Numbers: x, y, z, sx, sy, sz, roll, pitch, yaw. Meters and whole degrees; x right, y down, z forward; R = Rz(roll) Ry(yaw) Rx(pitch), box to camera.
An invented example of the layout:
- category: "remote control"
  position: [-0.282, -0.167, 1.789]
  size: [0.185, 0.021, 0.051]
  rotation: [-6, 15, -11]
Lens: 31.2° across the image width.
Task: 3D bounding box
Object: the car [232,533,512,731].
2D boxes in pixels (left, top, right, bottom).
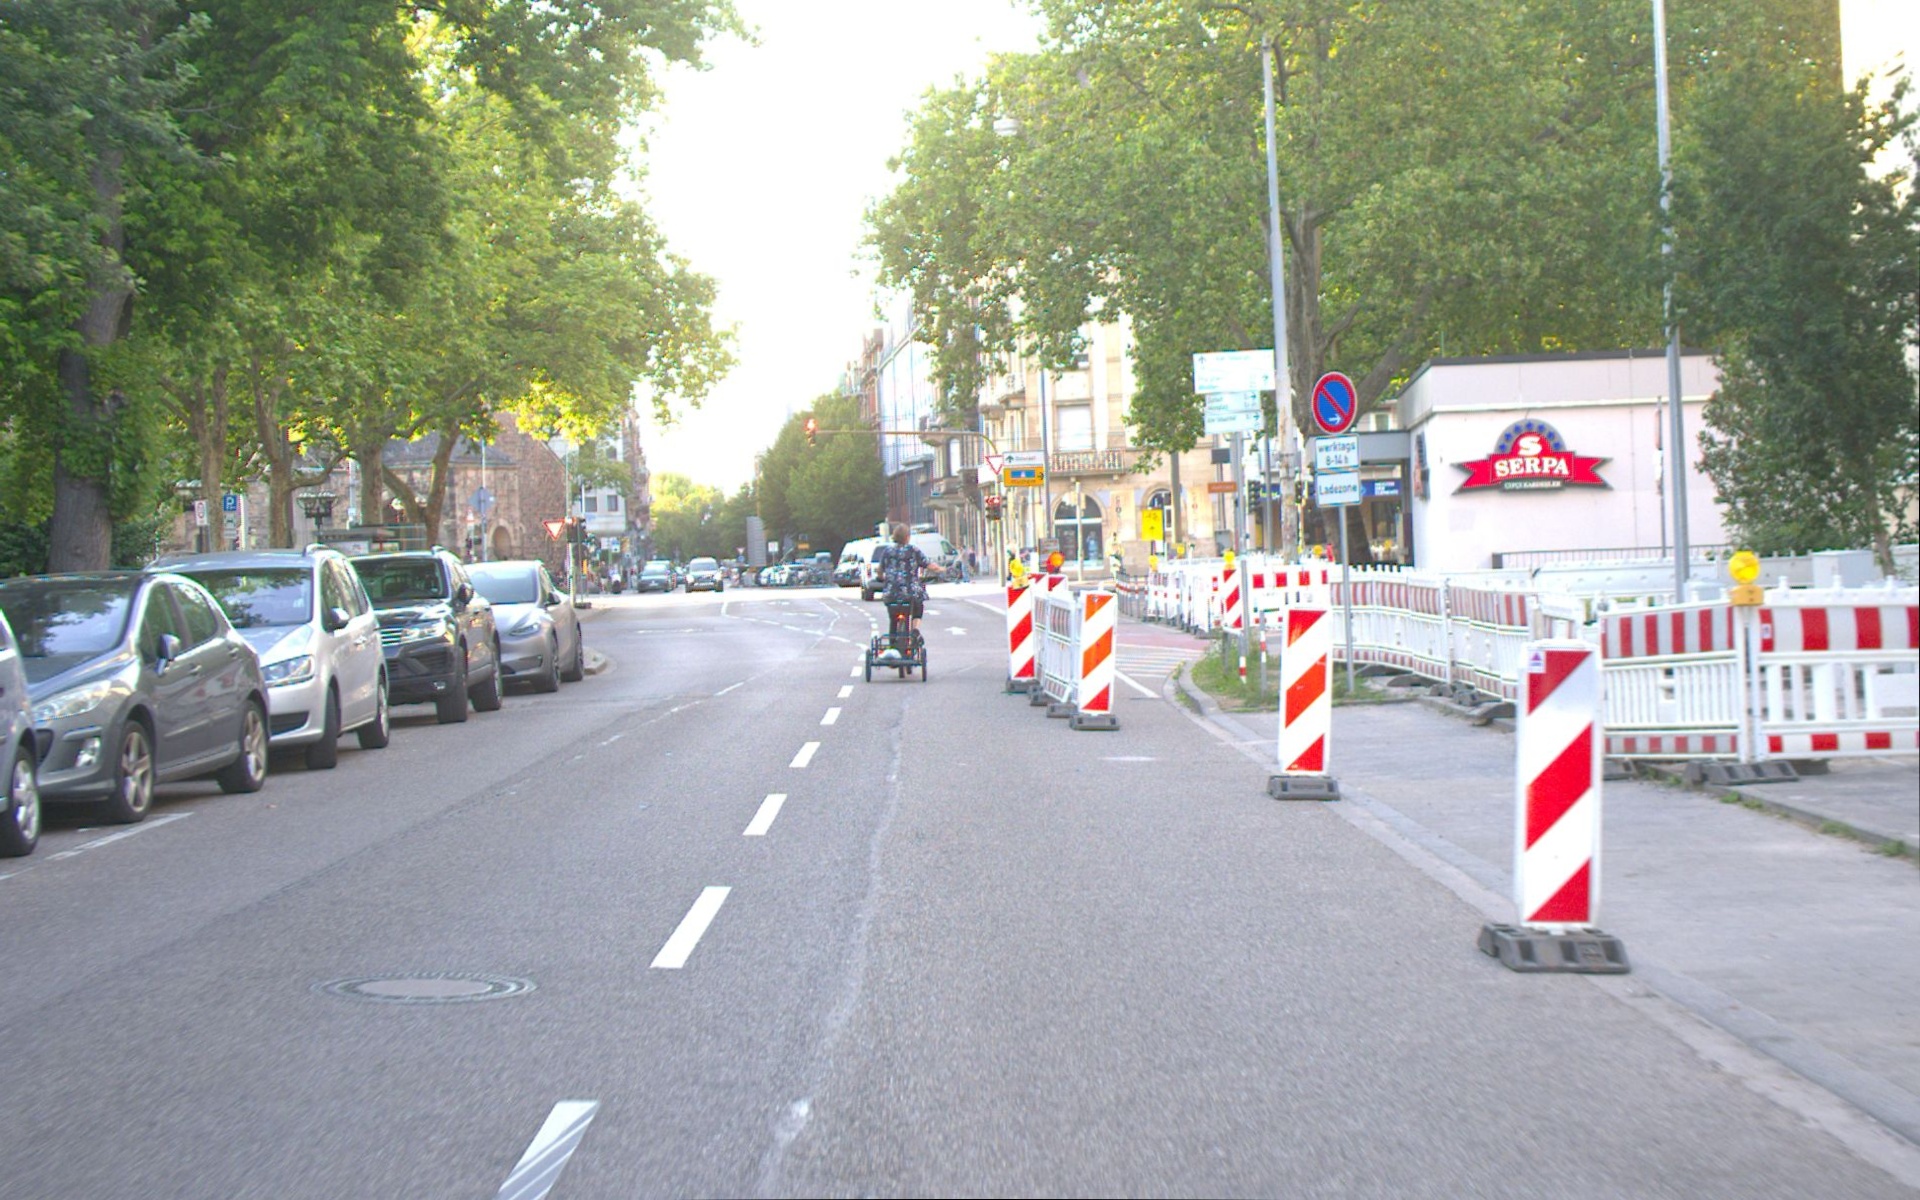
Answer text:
- category: "car"
  position: [-5.755, 0.260, 34.217]
  size: [1.953, 1.713, 4.771]
  rotation: [-4, 1, -1]

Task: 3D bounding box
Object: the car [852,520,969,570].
- category: "car"
  position: [-2.410, -2.700, 168.333]
  size: [5.807, 2.280, 2.071]
  rotation: [-3, 1, -43]

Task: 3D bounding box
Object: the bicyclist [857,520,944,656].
- category: "bicyclist"
  position: [-0.737, -0.153, 42.149]
  size: [0.939, 1.576, 1.146]
  rotation: [-4, 0, -1]

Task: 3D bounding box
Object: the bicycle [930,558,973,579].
- category: "bicycle"
  position: [-0.414, -1.494, 162.899]
  size: [1.916, 0.965, 0.545]
  rotation: [-1, 1, 14]

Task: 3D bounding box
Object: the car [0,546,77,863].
- category: "car"
  position: [-5.723, 0.601, 16.698]
  size: [1.707, 1.595, 4.117]
  rotation: [-5, 1, 0]

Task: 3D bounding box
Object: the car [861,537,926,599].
- category: "car"
  position: [-2.066, -0.994, 106.085]
  size: [1.866, 1.808, 4.000]
  rotation: [-3, 1, -2]

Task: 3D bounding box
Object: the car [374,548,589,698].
- category: "car"
  position: [-5.797, 0.232, 42.172]
  size: [1.953, 1.611, 4.605]
  rotation: [-4, 1, -1]

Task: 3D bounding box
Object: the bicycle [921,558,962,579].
- category: "bicycle"
  position: [-0.875, -1.487, 162.110]
  size: [1.914, 0.965, 0.546]
  rotation: [-2, 1, -2]

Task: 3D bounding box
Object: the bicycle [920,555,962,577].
- category: "bicycle"
  position: [-0.902, -1.598, 161.829]
  size: [1.914, 0.965, 0.546]
  rotation: [-2, 1, -2]

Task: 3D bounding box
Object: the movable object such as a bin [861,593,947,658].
- category: "movable object such as a bin"
  position: [-0.664, 0.298, 40.462]
  size: [0.939, 0.686, 0.993]
  rotation: [-4, 0, -1]

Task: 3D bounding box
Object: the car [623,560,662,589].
- category: "car"
  position: [-17.972, -1.441, 194.624]
  size: [1.993, 1.645, 3.822]
  rotation: [0, 0, -8]

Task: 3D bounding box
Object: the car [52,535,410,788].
- category: "car"
  position: [-5.590, 0.408, 26.963]
  size: [1.846, 1.685, 4.860]
  rotation: [-4, 1, -2]

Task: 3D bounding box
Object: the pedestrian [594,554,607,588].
- category: "pedestrian"
  position: [-20.023, -1.630, 191.400]
  size: [0.593, 1.880, 0.585]
  rotation: [-2, 1, 4]

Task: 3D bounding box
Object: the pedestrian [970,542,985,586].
- category: "pedestrian"
  position: [0.762, -1.549, 149.072]
  size: [0.593, 1.880, 0.585]
  rotation: [-2, 1, 3]

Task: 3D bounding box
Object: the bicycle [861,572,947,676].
- category: "bicycle"
  position: [-0.703, 0.283, 42.133]
  size: [0.939, 1.168, 2.359]
  rotation: [-4, 0, -1]

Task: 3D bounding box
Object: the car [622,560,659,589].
- category: "car"
  position: [-18.813, -1.506, 202.327]
  size: [1.993, 1.645, 3.822]
  rotation: [0, 0, -8]

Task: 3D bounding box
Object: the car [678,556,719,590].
- category: "car"
  position: [-13.163, -1.365, 172.827]
  size: [1.781, 1.645, 3.822]
  rotation: [0, 0, -8]

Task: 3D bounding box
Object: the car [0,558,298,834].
- category: "car"
  position: [-5.597, 0.553, 21.503]
  size: [1.733, 1.492, 4.270]
  rotation: [-4, 1, 4]
